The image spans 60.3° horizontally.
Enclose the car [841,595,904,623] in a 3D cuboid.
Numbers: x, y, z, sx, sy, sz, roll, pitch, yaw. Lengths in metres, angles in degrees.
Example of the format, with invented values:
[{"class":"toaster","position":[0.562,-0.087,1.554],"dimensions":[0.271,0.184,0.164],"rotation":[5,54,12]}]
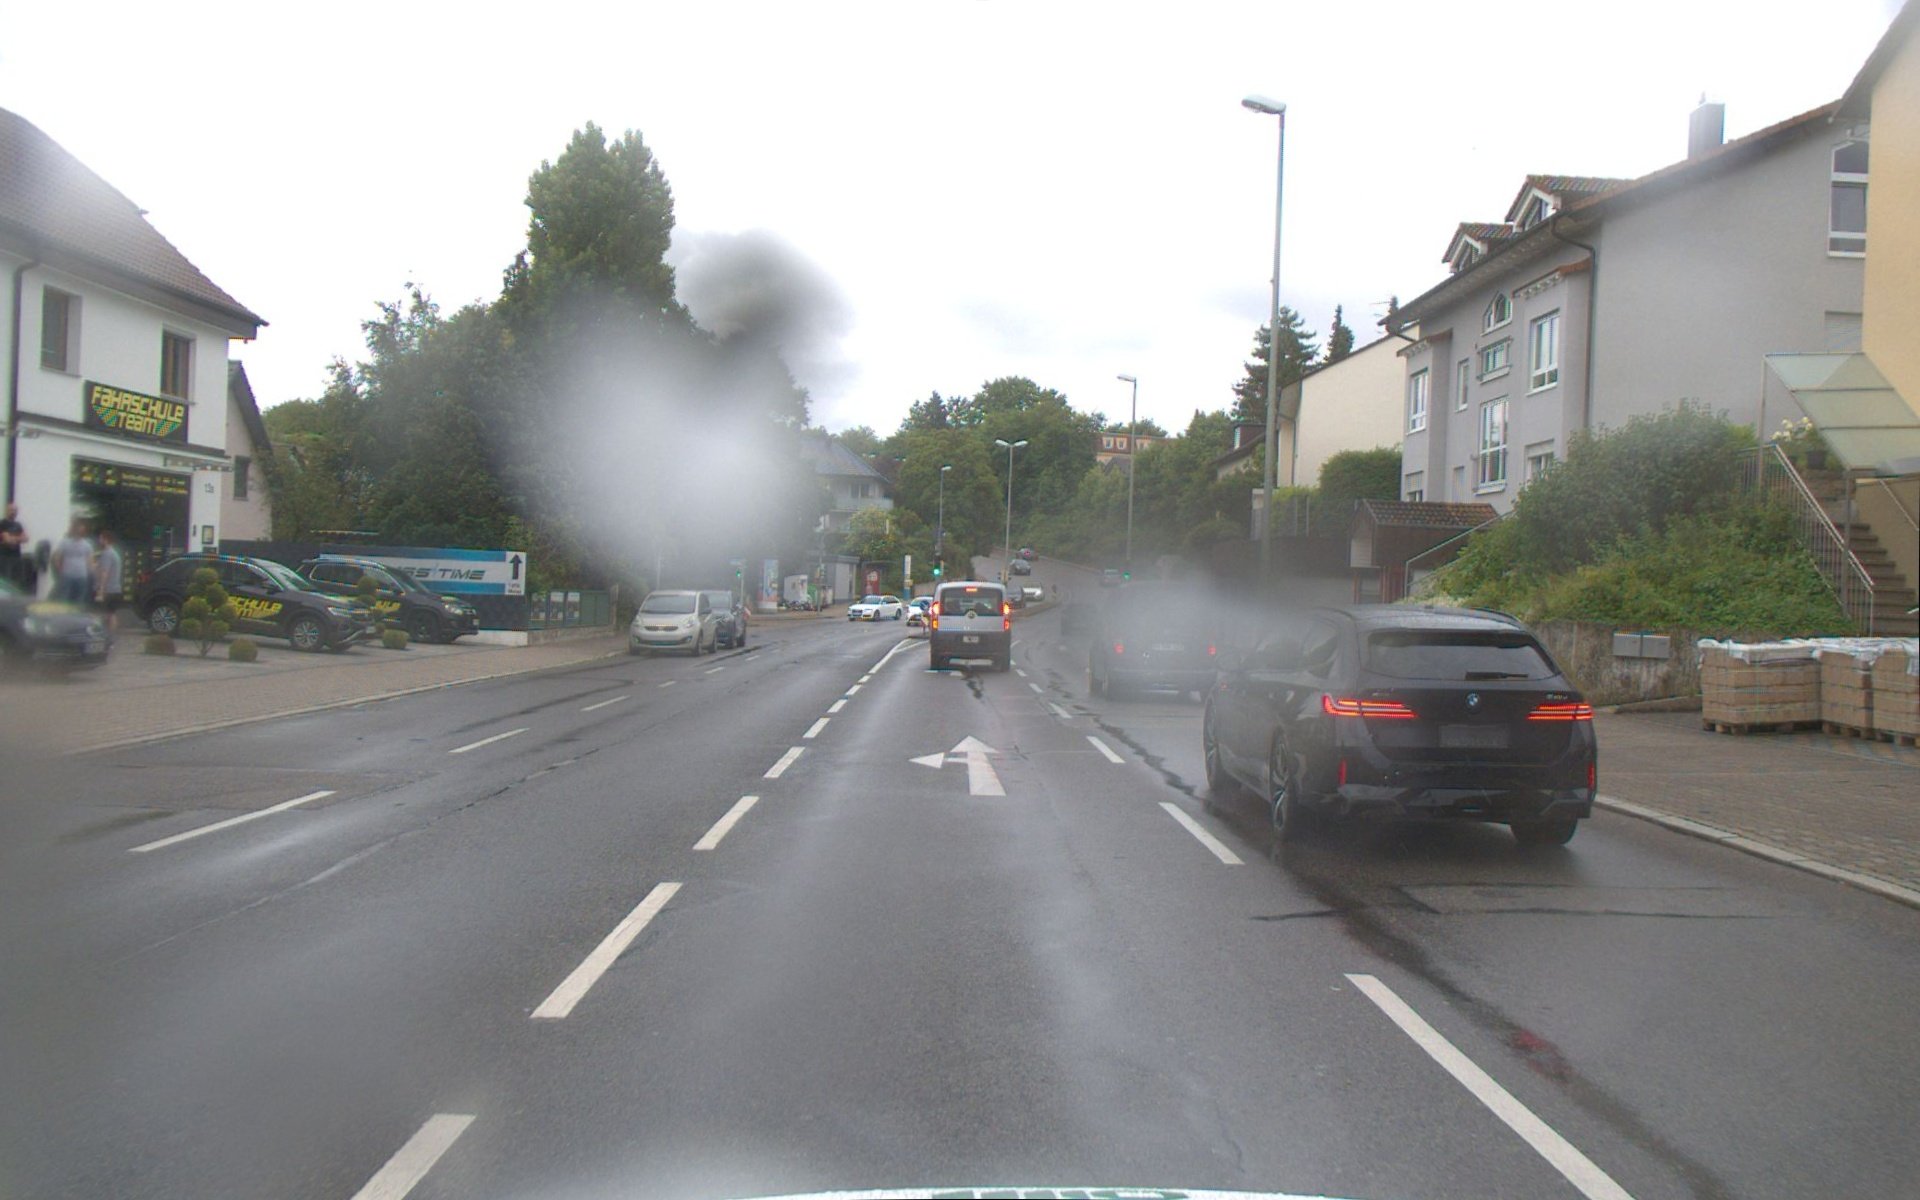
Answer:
[{"class":"car","position":[-5.115,0.557,97.629],"dimensions":[1.953,1.574,4.394],"rotation":[1,0,23]}]

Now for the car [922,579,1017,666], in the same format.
[{"class":"car","position":[0.196,0.481,36.842],"dimensions":[1.953,1.768,4.000],"rotation":[2,0,0]}]

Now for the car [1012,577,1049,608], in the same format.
[{"class":"car","position":[5.675,-0.629,133.324],"dimensions":[2.471,2.048,5.608],"rotation":[2,3,-2]}]

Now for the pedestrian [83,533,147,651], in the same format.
[{"class":"pedestrian","position":[-13.468,-0.126,26.365],"dimensions":[0.589,1.821,0.649],"rotation":[4,0,-6]}]

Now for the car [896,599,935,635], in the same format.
[{"class":"car","position":[-2.369,0.910,89.182],"dimensions":[1.953,1.803,3.999],"rotation":[2,0,0]}]

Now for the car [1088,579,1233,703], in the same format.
[{"class":"car","position":[3.137,0.618,26.615],"dimensions":[1.801,1.798,4.000],"rotation":[2,0,0]}]

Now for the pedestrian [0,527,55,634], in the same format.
[{"class":"pedestrian","position":[-15.389,-0.319,27.133],"dimensions":[0.588,1.694,0.650],"rotation":[4,0,4]}]

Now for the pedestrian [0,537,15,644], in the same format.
[{"class":"pedestrian","position":[-15.521,-0.174,26.184],"dimensions":[0.588,1.694,0.650],"rotation":[4,0,4]}]

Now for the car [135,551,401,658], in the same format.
[{"class":"car","position":[-12.698,0.086,30.517],"dimensions":[3.991,1.542,1.855],"rotation":[6,0,-1]}]

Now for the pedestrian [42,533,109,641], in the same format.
[{"class":"pedestrian","position":[-14.416,-0.209,26.976],"dimensions":[0.588,1.694,0.650],"rotation":[4,0,7]}]

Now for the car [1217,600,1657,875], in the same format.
[{"class":"car","position":[3.032,0.793,11.439],"dimensions":[1.952,1.510,4.001],"rotation":[2,0,2]}]

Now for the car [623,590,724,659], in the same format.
[{"class":"car","position":[-7.182,0.603,41.816],"dimensions":[1.846,1.613,3.999],"rotation":[2,0,0]}]

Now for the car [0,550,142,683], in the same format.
[{"class":"car","position":[-12.651,0.121,20.517],"dimensions":[3.990,1.542,1.855],"rotation":[3,0,-1]}]

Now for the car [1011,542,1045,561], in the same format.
[{"class":"car","position":[7.940,-5.654,192.914],"dimensions":[2.479,2.048,5.590],"rotation":[1,3,-14]}]

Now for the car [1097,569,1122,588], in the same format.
[{"class":"car","position":[13.956,-1.991,154.455],"dimensions":[1.953,1.613,4.000],"rotation":[2,0,0]}]

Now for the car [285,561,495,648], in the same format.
[{"class":"car","position":[-12.852,0.109,37.449],"dimensions":[3.991,1.542,1.855],"rotation":[6,0,-1]}]

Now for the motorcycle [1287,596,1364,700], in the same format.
[{"class":"motorcycle","position":[5.685,0.725,25.828],"dimensions":[0.689,1.536,2.150],"rotation":[-1,0,0]}]

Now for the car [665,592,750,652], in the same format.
[{"class":"car","position":[-7.345,0.629,48.416],"dimensions":[1.846,1.613,3.999],"rotation":[2,0,0]}]

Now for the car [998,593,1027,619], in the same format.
[{"class":"car","position":[3.747,0.422,119.240],"dimensions":[1.953,1.803,4.000],"rotation":[1,0,0]}]

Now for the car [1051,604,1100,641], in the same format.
[{"class":"car","position":[5.249,1.011,75.640],"dimensions":[1.953,1.606,4.000],"rotation":[1,0,0]}]

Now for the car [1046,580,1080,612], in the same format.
[{"class":"car","position":[7.869,-0.327,127.138],"dimensions":[2.469,2.048,5.611],"rotation":[2,3,3]}]

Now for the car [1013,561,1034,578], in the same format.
[{"class":"car","position":[6.581,-3.188,171.177],"dimensions":[1.953,1.613,4.000],"rotation":[2,0,0]}]
